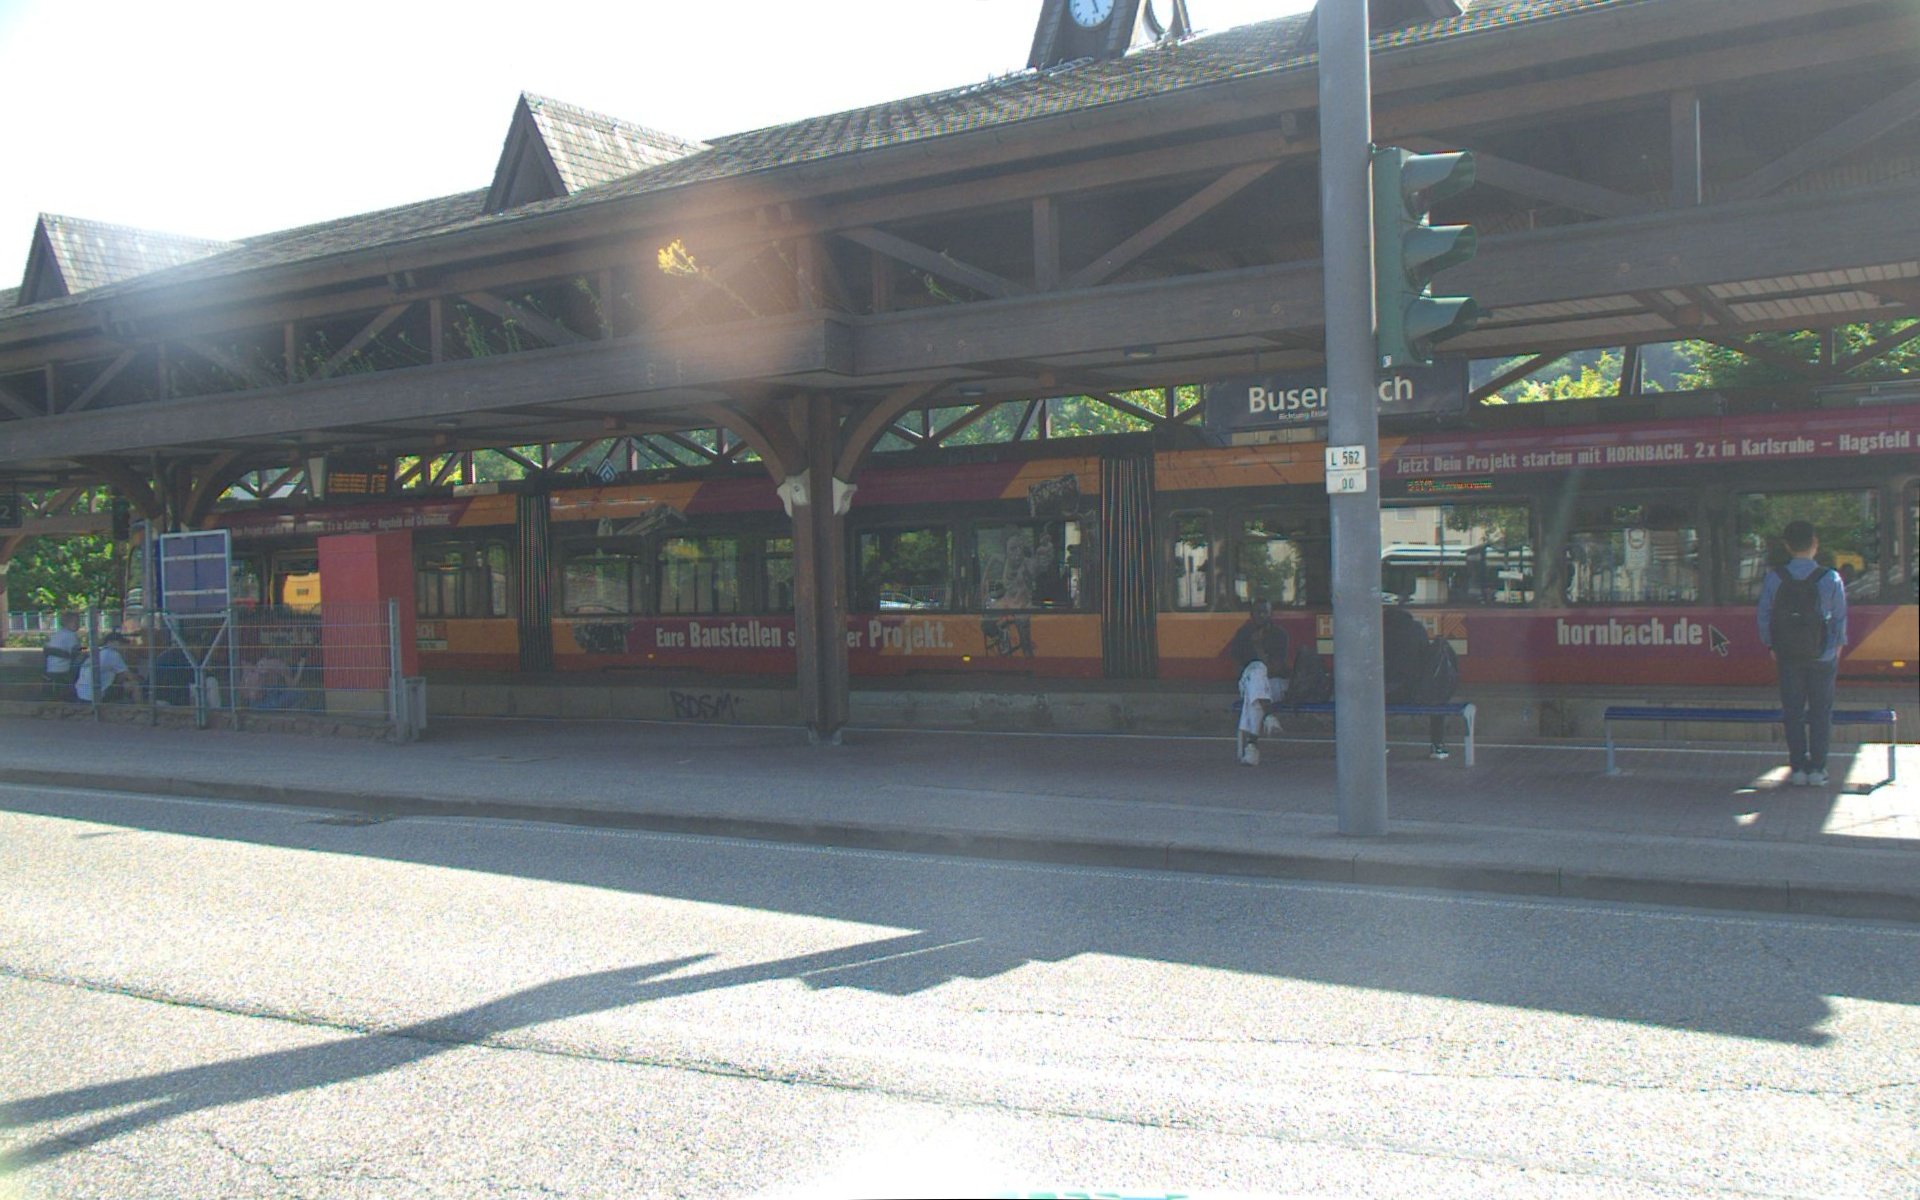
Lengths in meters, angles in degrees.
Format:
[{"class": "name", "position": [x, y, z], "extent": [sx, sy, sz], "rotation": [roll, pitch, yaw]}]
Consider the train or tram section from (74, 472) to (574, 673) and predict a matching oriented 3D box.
[{"class": "train or tram section", "position": [-12.831, -0.456, 32.583], "extent": [11.793, 3.423, 2.757], "rotation": [0, -1, 33]}]

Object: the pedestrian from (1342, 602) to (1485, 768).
[{"class": "pedestrian", "position": [3.447, 0.616, 12.530], "extent": [0.926, 1.180, 1.009], "rotation": [-1, 0, 22]}]

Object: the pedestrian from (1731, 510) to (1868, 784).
[{"class": "pedestrian", "position": [5.480, 0.293, 10.834], "extent": [0.722, 1.721, 0.659], "rotation": [-1, 1, 22]}]

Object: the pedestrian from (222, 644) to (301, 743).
[{"class": "pedestrian", "position": [-7.154, 0.948, 16.946], "extent": [0.397, 0.983, 0.618], "rotation": [1, -1, 28]}]

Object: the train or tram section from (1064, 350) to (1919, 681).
[{"class": "train or tram section", "position": [8.186, -0.859, 19.808], "extent": [14.038, 3.424, 2.860], "rotation": [-1, 0, 30]}]

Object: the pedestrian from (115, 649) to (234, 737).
[{"class": "pedestrian", "position": [-8.459, 0.985, 17.823], "extent": [0.790, 0.889, 0.846], "rotation": [1, 0, 28]}]

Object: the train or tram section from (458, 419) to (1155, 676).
[{"class": "train or tram section", "position": [-2.854, -0.599, 26.351], "extent": [11.789, 3.423, 2.789], "rotation": [-1, -1, 32]}]

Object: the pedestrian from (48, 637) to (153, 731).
[{"class": "pedestrian", "position": [-9.671, 0.929, 18.612], "extent": [0.752, 0.999, 0.743], "rotation": [1, -1, 28]}]

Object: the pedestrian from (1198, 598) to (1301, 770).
[{"class": "pedestrian", "position": [2.248, 0.625, 12.777], "extent": [0.582, 1.257, 0.994], "rotation": [1, 0, 21]}]

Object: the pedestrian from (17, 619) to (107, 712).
[{"class": "pedestrian", "position": [-11.325, 0.815, 20.868], "extent": [0.652, 1.136, 0.743], "rotation": [1, -1, 28]}]
